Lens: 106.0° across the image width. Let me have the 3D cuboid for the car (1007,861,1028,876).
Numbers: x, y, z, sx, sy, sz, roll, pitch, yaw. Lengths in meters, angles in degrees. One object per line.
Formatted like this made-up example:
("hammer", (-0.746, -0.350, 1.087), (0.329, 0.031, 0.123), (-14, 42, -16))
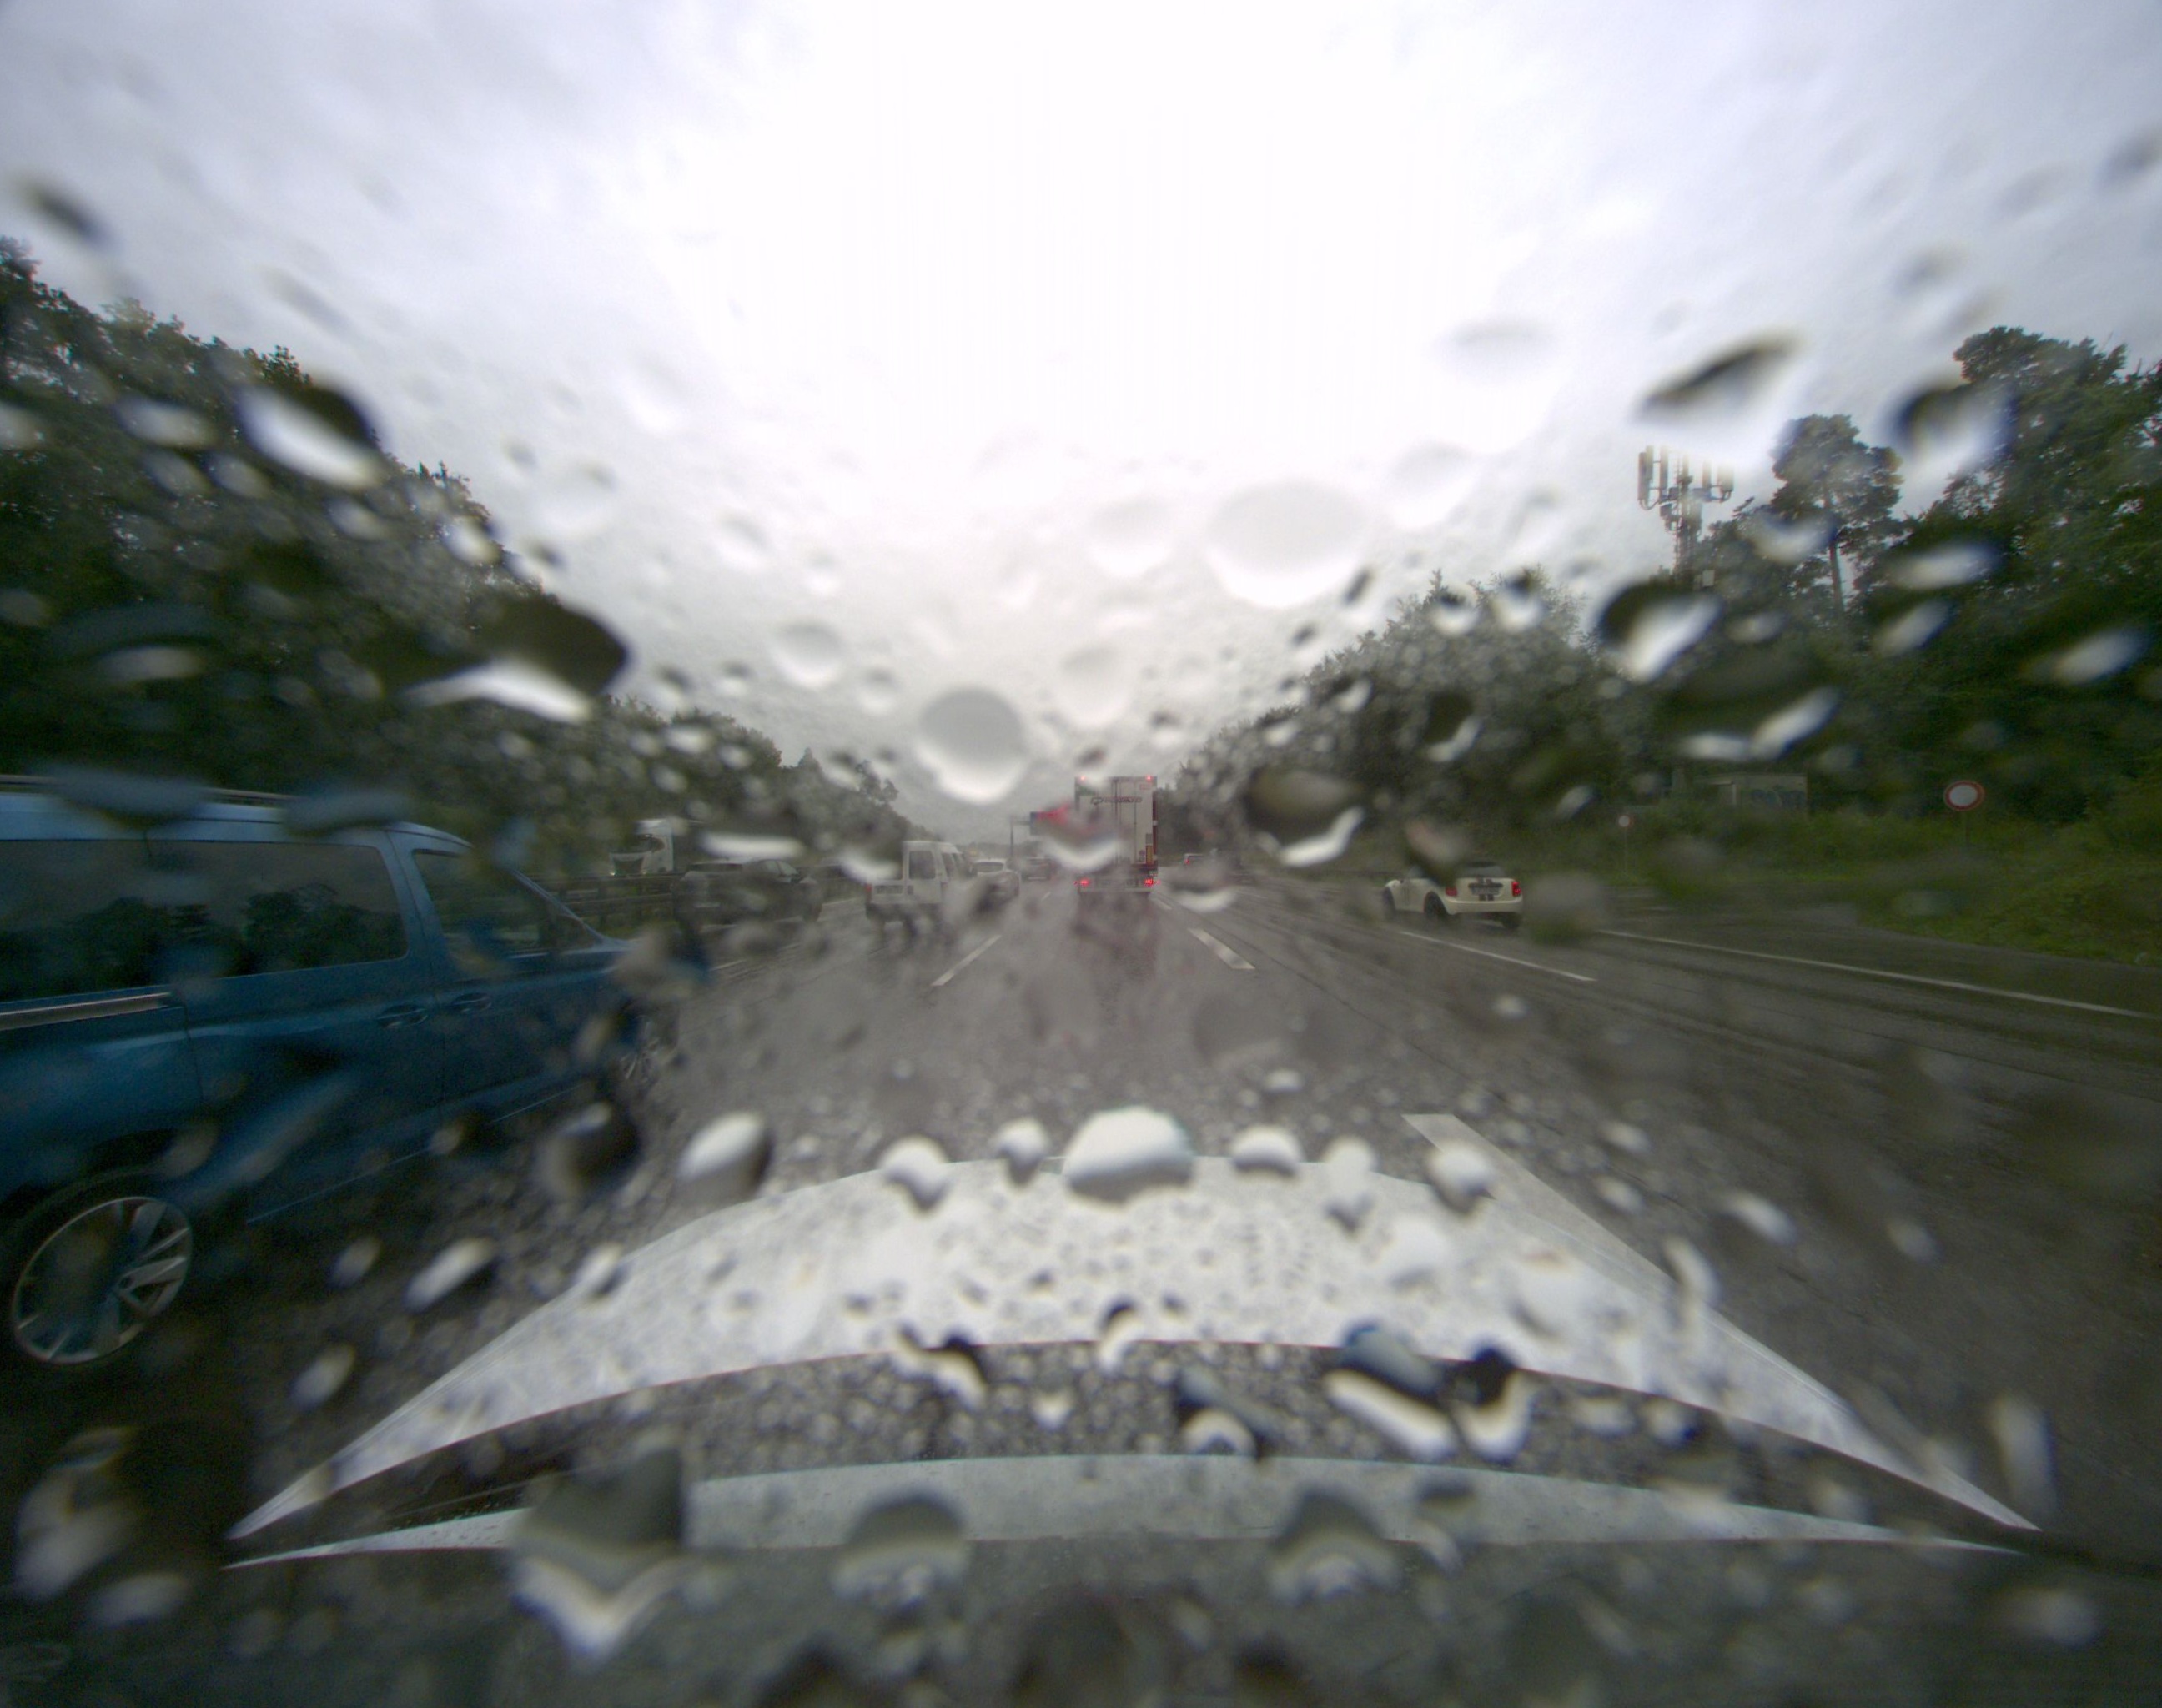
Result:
("car", (-6.365, 1.442, 82.076), (1.840, 1.330, 4.465), (-1, 0, 0))

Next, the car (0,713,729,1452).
("car", (-3.840, 0.593, 3.392), (2.259, 1.912, 5.021), (-1, 0, 4))

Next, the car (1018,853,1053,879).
("car", (-2.888, 0.768, 52.870), (1.838, 1.591, 4.469), (-1, 0, 2))

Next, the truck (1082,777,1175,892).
("truck", (1.715, -0.577, 31.013), (2.861, 3.562, 11.308), (-1, 0, 2))

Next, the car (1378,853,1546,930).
("car", (7.881, 0.697, 17.317), (1.783, 1.407, 4.231), (-1, 0, 3))

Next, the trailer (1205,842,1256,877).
("trailer", (7.757, 0.261, 42.803), (2.232, 1.714, 5.090), (-1, 0, 6))

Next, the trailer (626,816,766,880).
("trailer", (-25.838, -0.374, 55.921), (3.014, 3.818, 13.560), (-1, 0, 0))

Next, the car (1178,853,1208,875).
("car", (8.688, 0.743, 63.489), (1.981, 1.583, 4.773), (-1, 0, 4))

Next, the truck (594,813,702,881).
("truck", (-25.902, -0.384, 49.158), (3.009, 3.818, 6.266), (-1, 0, 1))

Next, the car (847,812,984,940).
("car", (-3.656, 0.440, 19.024), (2.206, 2.573, 5.013), (-1, 0, -1))

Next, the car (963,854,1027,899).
("car", (-3.314, 0.833, 31.976), (1.838, 1.591, 4.075), (-1, 0, 3))

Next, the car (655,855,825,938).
("car", (-7.398, 0.838, 18.208), (1.839, 1.591, 4.467), (-1, 0, 1))
